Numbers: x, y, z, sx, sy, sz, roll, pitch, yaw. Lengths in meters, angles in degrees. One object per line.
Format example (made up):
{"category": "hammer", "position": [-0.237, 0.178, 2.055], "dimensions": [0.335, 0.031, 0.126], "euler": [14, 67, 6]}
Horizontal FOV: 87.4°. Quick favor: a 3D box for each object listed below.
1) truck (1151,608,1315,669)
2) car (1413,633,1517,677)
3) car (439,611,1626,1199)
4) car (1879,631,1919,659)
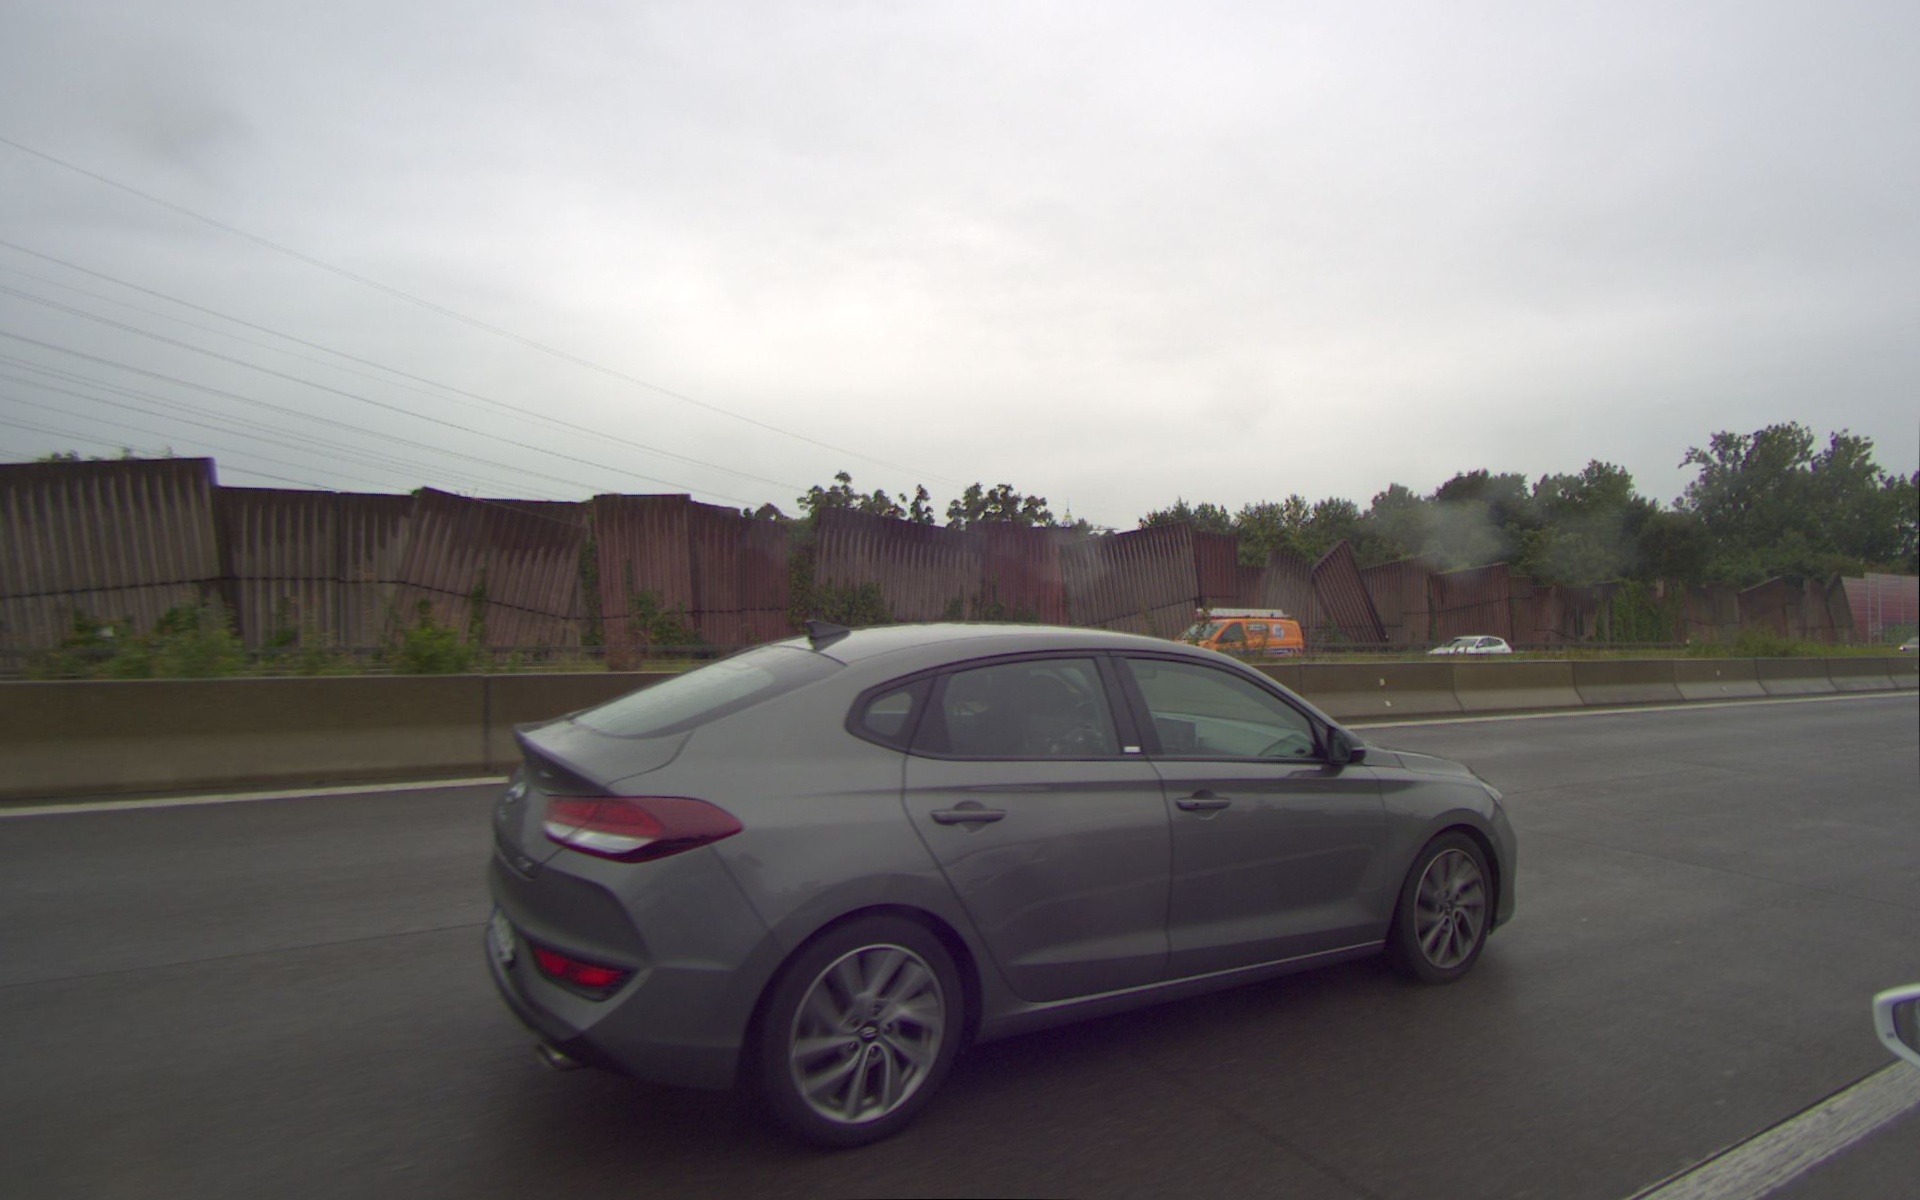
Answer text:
{"category": "truck", "position": [8.494, 1.183, 31.129], "dimensions": [4.956, 1.762, 1.984], "euler": [1, -1, -30]}
{"category": "car", "position": [22.014, 2.358, 43.732], "dimensions": [4.345, 1.762, 1.985], "euler": [1, -1, -30]}
{"category": "car", "position": [0.583, 0.808, 4.149], "dimensions": [4.772, 1.421, 1.717], "euler": [1, 0, -31]}
{"category": "car", "position": [66.176, 3.137, 70.046], "dimensions": [4.241, 1.808, 1.983], "euler": [1, 0, -31]}
